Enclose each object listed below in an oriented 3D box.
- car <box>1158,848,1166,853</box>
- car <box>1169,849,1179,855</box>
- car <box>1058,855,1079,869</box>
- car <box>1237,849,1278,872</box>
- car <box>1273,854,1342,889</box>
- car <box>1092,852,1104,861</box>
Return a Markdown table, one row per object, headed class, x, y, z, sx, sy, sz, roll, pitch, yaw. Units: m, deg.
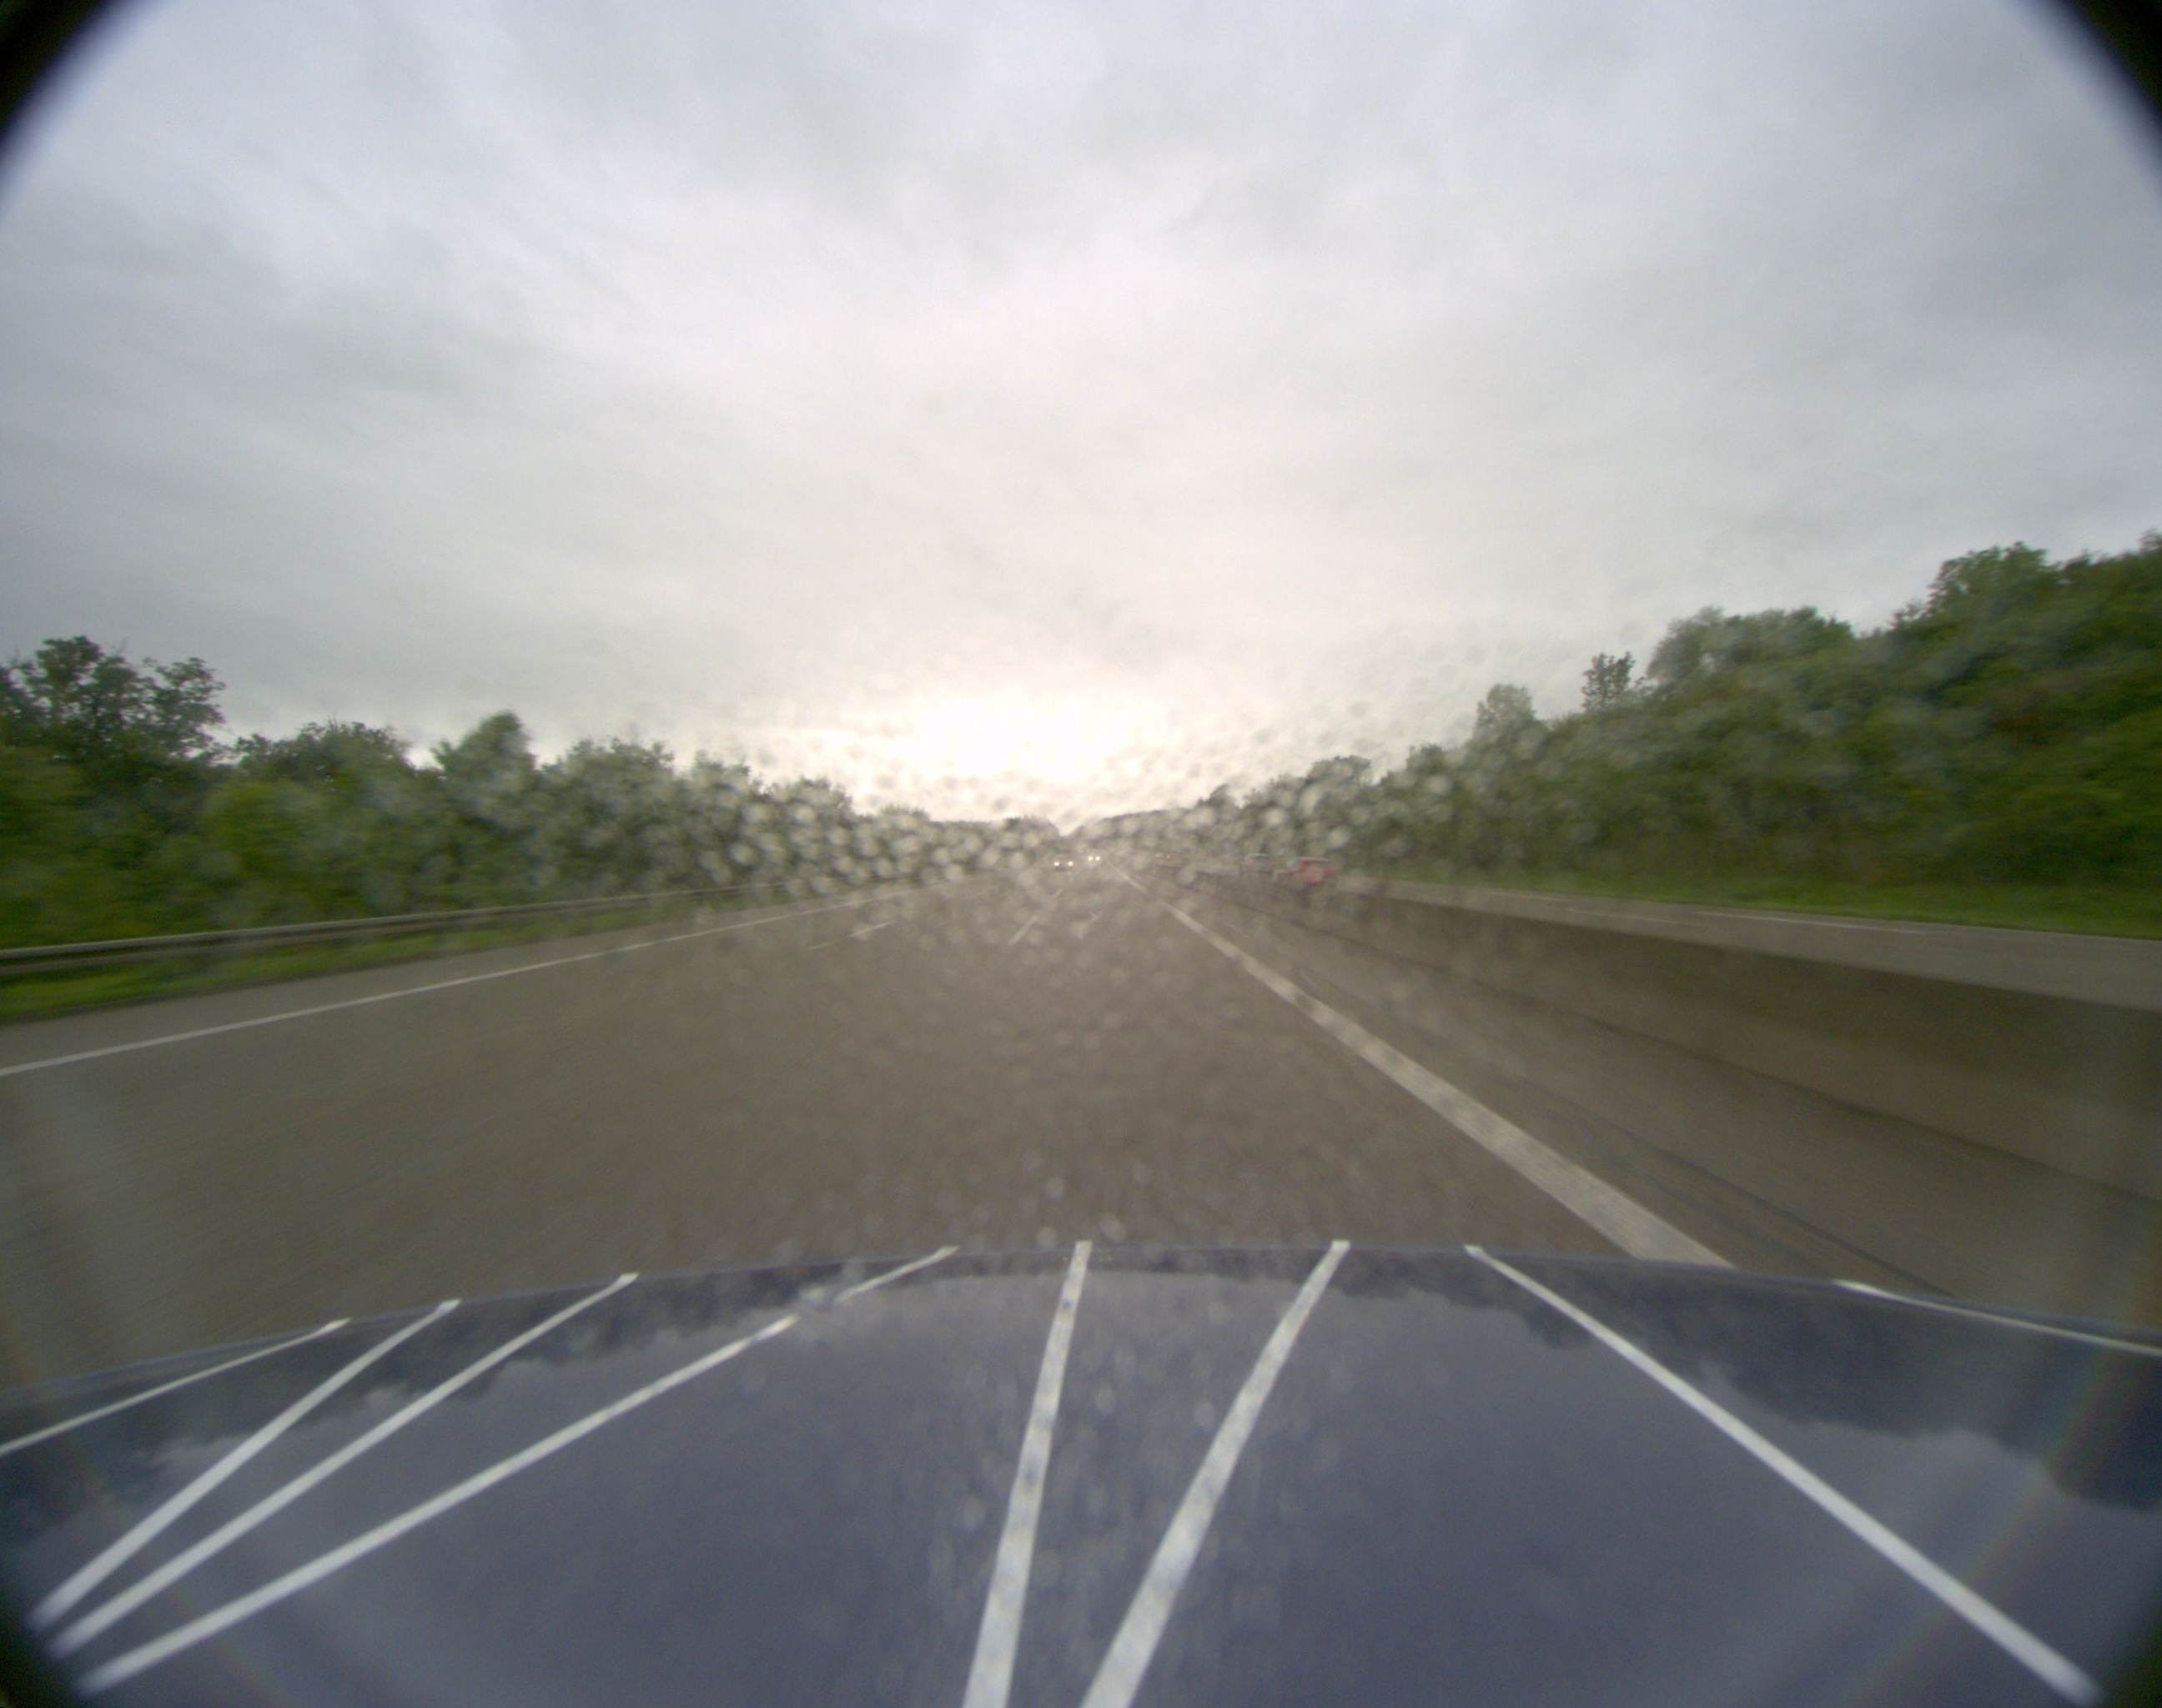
| class | x | y | z | sx | sy | sz | roll | pitch | yaw |
| --- | --- | --- | --- | --- | --- | --- | --- | --- | --- |
| car | 20.851 | -0.928 | 195.663 | 1.802 | 1.442 | 4.629 | 0 | 0 | 1 |
| car | 19.163 | -0.437 | 156.921 | 1.802 | 1.377 | 4.469 | 0 | 1 | 4 |
| car | -1.298 | 0.833 | 79.722 | 1.932 | 1.521 | 4.299 | 0 | 0 | 3 |
| car | 13.108 | 0.457 | 56.601 | 1.998 | 1.678 | 4.916 | 0 | 0 | 1 |
| car | 9.955 | 0.713 | 33.747 | 1.639 | 1.404 | 4.366 | 1 | 0 | -1 |
| car | 3.092 | 0.407 | 135.210 | 2.009 | 1.455 | 4.000 | 0 | 1 | 3 |
